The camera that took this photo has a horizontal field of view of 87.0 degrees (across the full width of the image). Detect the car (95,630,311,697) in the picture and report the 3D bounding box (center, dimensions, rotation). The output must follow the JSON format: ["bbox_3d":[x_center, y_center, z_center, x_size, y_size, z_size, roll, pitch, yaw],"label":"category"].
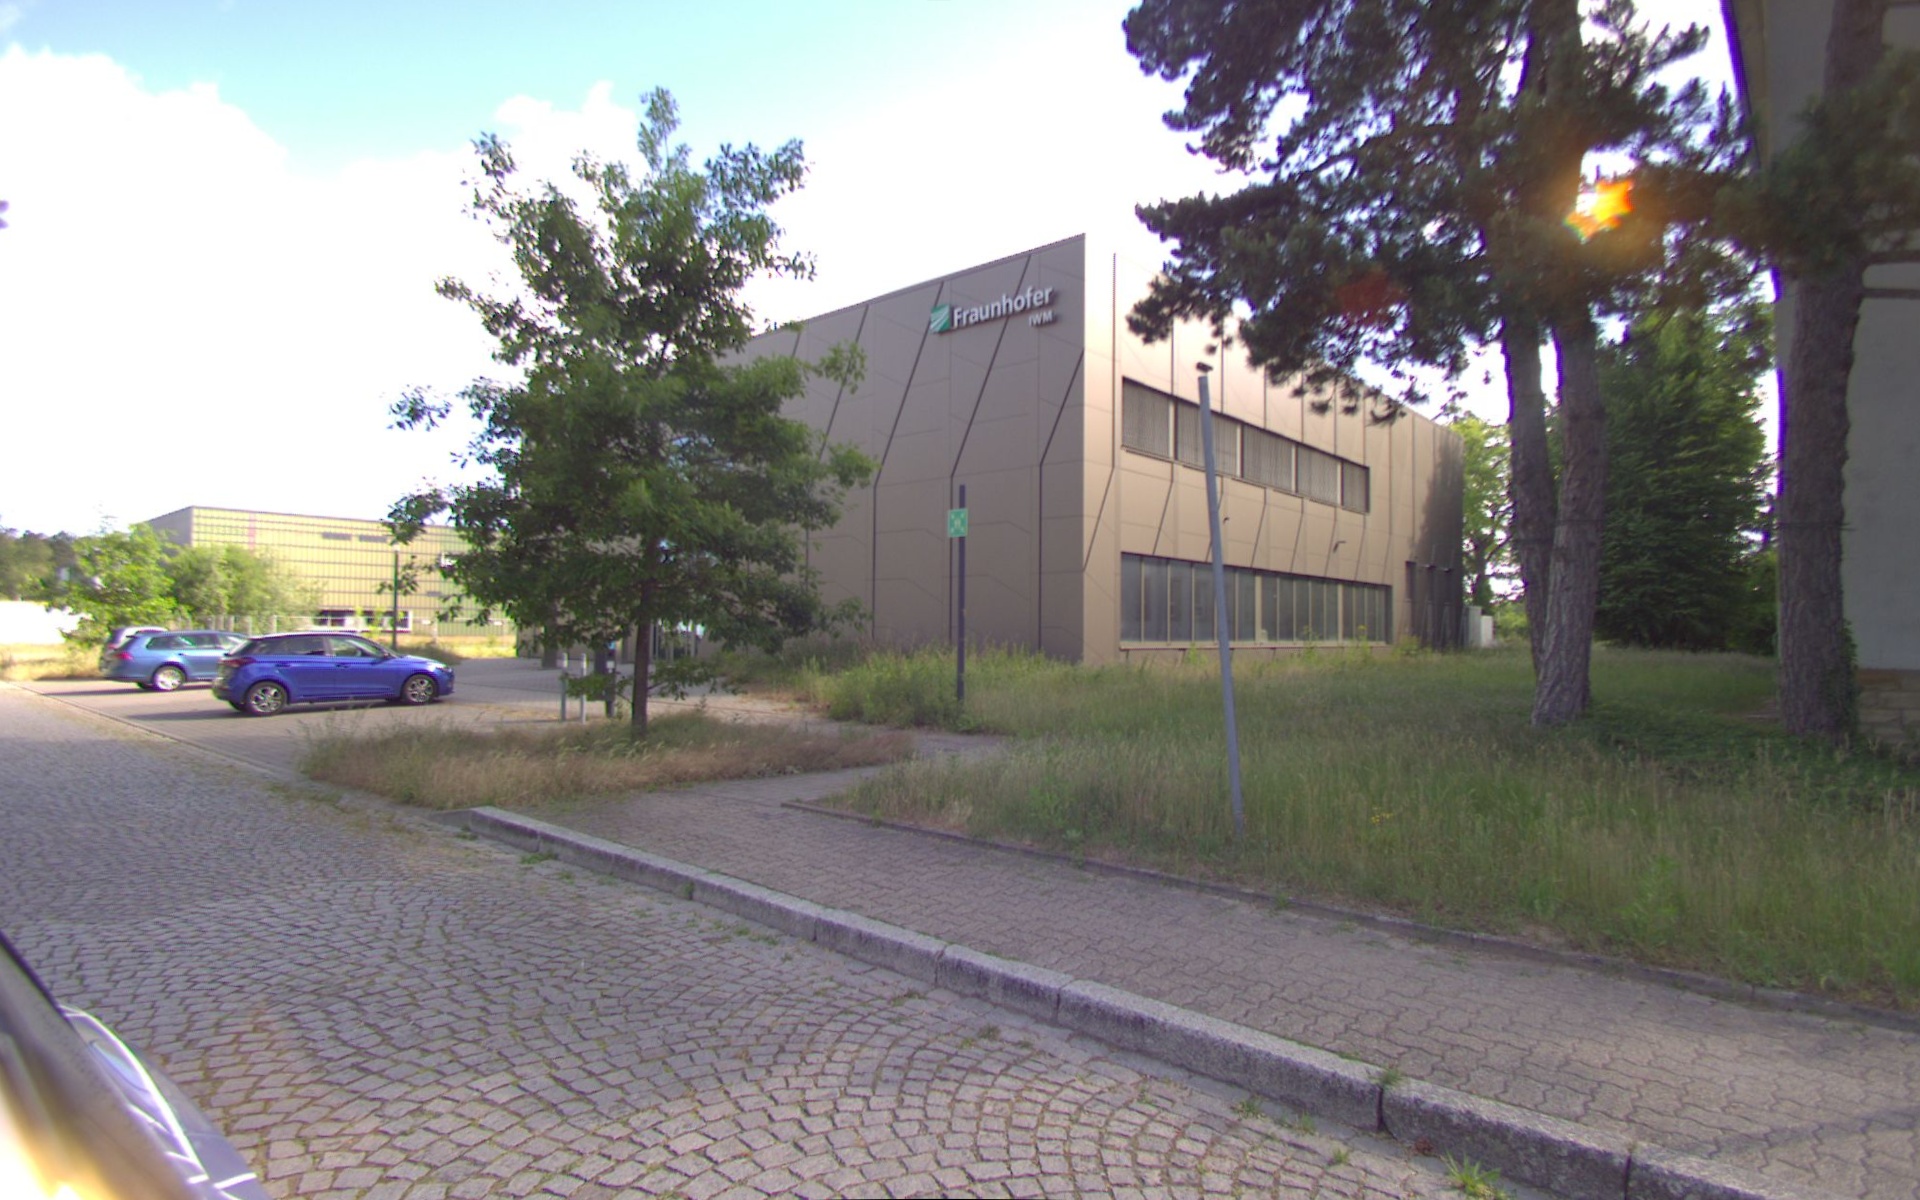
[{"bbox_3d":[-19.201,1.552,25.824,1.733,1.485,4.127,-1,-1,39],"label":"car"}]

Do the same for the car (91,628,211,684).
[{"bbox_3d":[-24.621,1.655,30.826,1.480,1.580,2.619,-2,-1,40],"label":"car"}]

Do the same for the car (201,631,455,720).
[{"bbox_3d":[-12.114,1.370,19.551,1.735,1.479,3.865,-2,-2,44],"label":"car"}]
